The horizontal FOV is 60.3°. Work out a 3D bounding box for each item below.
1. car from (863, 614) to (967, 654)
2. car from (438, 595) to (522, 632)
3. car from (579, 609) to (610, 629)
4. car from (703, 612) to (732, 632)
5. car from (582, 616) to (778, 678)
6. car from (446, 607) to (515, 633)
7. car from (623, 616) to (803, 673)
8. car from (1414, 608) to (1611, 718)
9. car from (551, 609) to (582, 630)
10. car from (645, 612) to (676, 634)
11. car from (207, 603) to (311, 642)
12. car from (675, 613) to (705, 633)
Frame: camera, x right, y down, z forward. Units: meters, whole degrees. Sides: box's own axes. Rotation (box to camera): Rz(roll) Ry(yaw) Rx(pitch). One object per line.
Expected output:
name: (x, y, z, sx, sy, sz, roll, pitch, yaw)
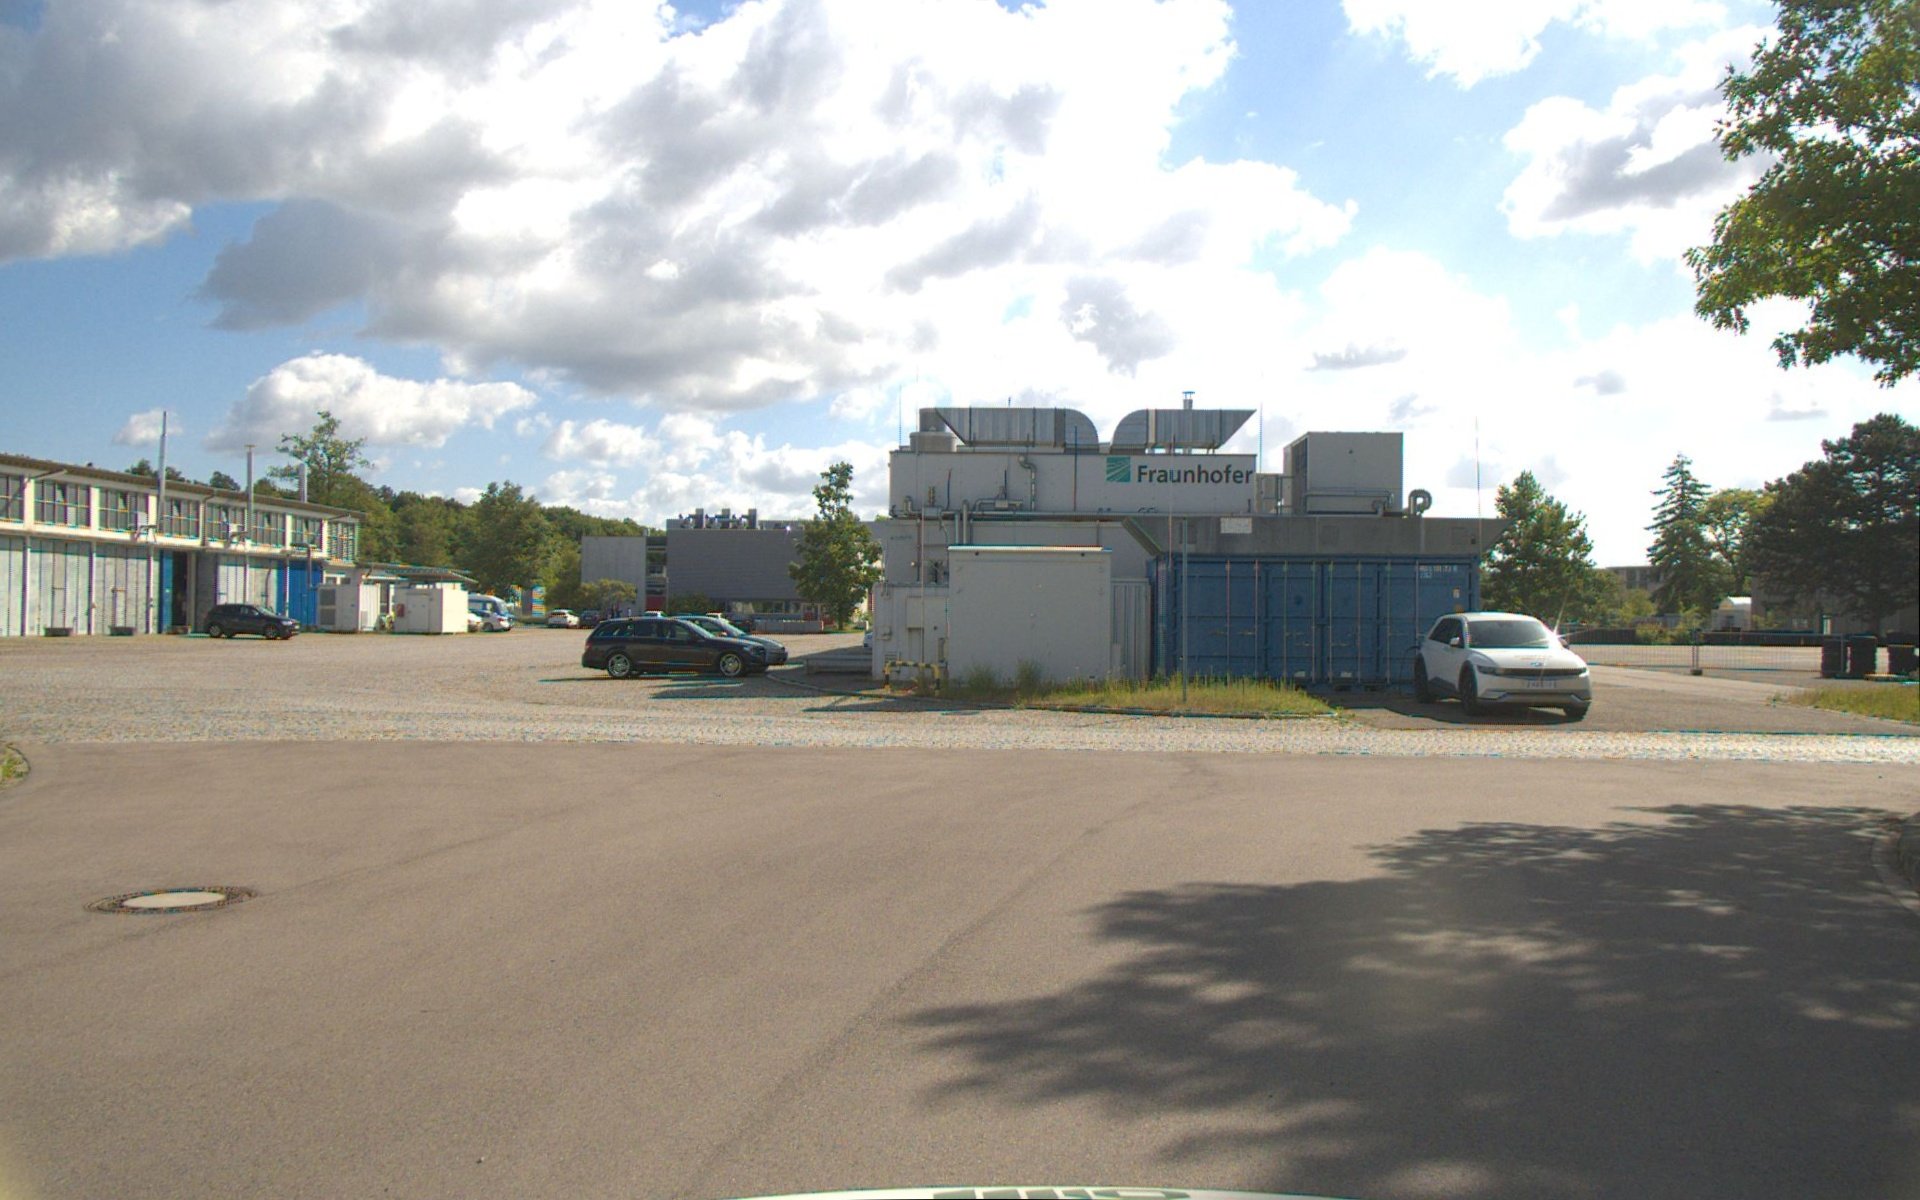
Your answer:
car: (-1.838, 1.420, 68.361, 4.190, 1.597, 1.987, 0, -2, 2)
car: (-33.253, 0.929, 114.713, 5.147, 2.485, 2.051, 1, -1, 6)
car: (-30.469, 1.606, 138.048, 1.840, 1.564, 4.033, -2, -1, -3)
car: (-20.204, 1.868, 138.113, 1.839, 1.564, 4.034, -2, -1, -1)
car: (-6.845, 1.170, 40.723, 4.435, 1.468, 1.987, 0, -2, 2)
car: (-32.378, 1.353, 111.743, 4.023, 1.659, 1.809, 1, -1, 6)
car: (-6.519, 1.203, 43.975, 4.435, 1.468, 1.904, 0, -2, 2)
car: (9.139, 0.984, 27.736, 1.940, 1.621, 4.341, 0, 1, 1)
car: (-32.869, 1.612, 138.224, 1.810, 1.698, 4.130, -2, -1, -3)
car: (-25.000, 1.931, 138.157, 1.839, 1.719, 4.034, -2, -1, -1)
car: (-33.154, 1.051, 78.307, 4.077, 1.695, 1.783, 2, -1, 0)
car: (-22.490, 1.931, 137.945, 1.839, 1.564, 4.034, -2, -1, -1)
